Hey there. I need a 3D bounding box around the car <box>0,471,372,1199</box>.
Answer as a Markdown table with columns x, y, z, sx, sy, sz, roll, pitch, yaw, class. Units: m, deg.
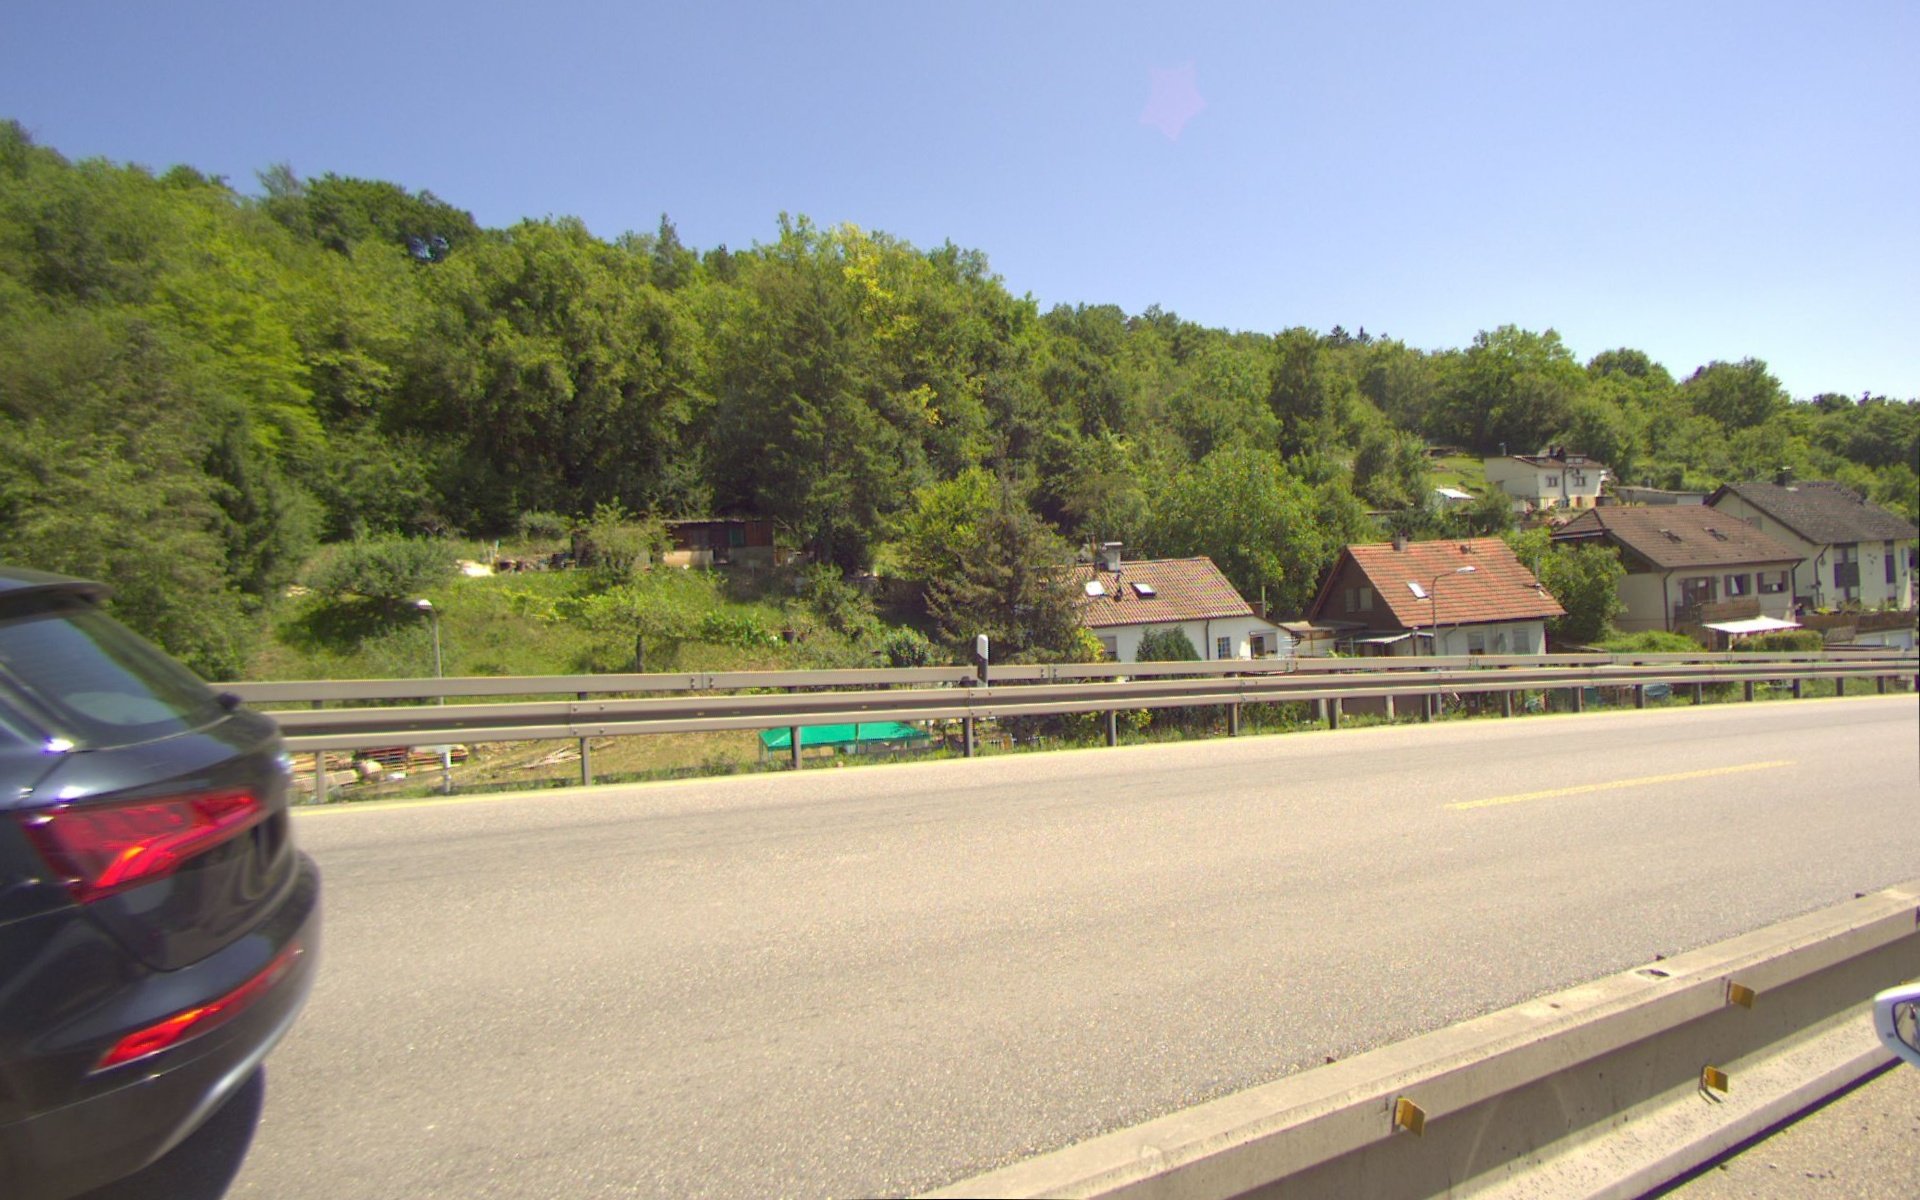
| x | y | z | sx | sy | sz | roll | pitch | yaw | class |
| --- | --- | --- | --- | --- | --- | --- | --- | --- | --- |
| -3.650 | 0.537 | 1.758 | 4.476 | 1.617 | 1.907 | 2 | -1 | -31 | car |
